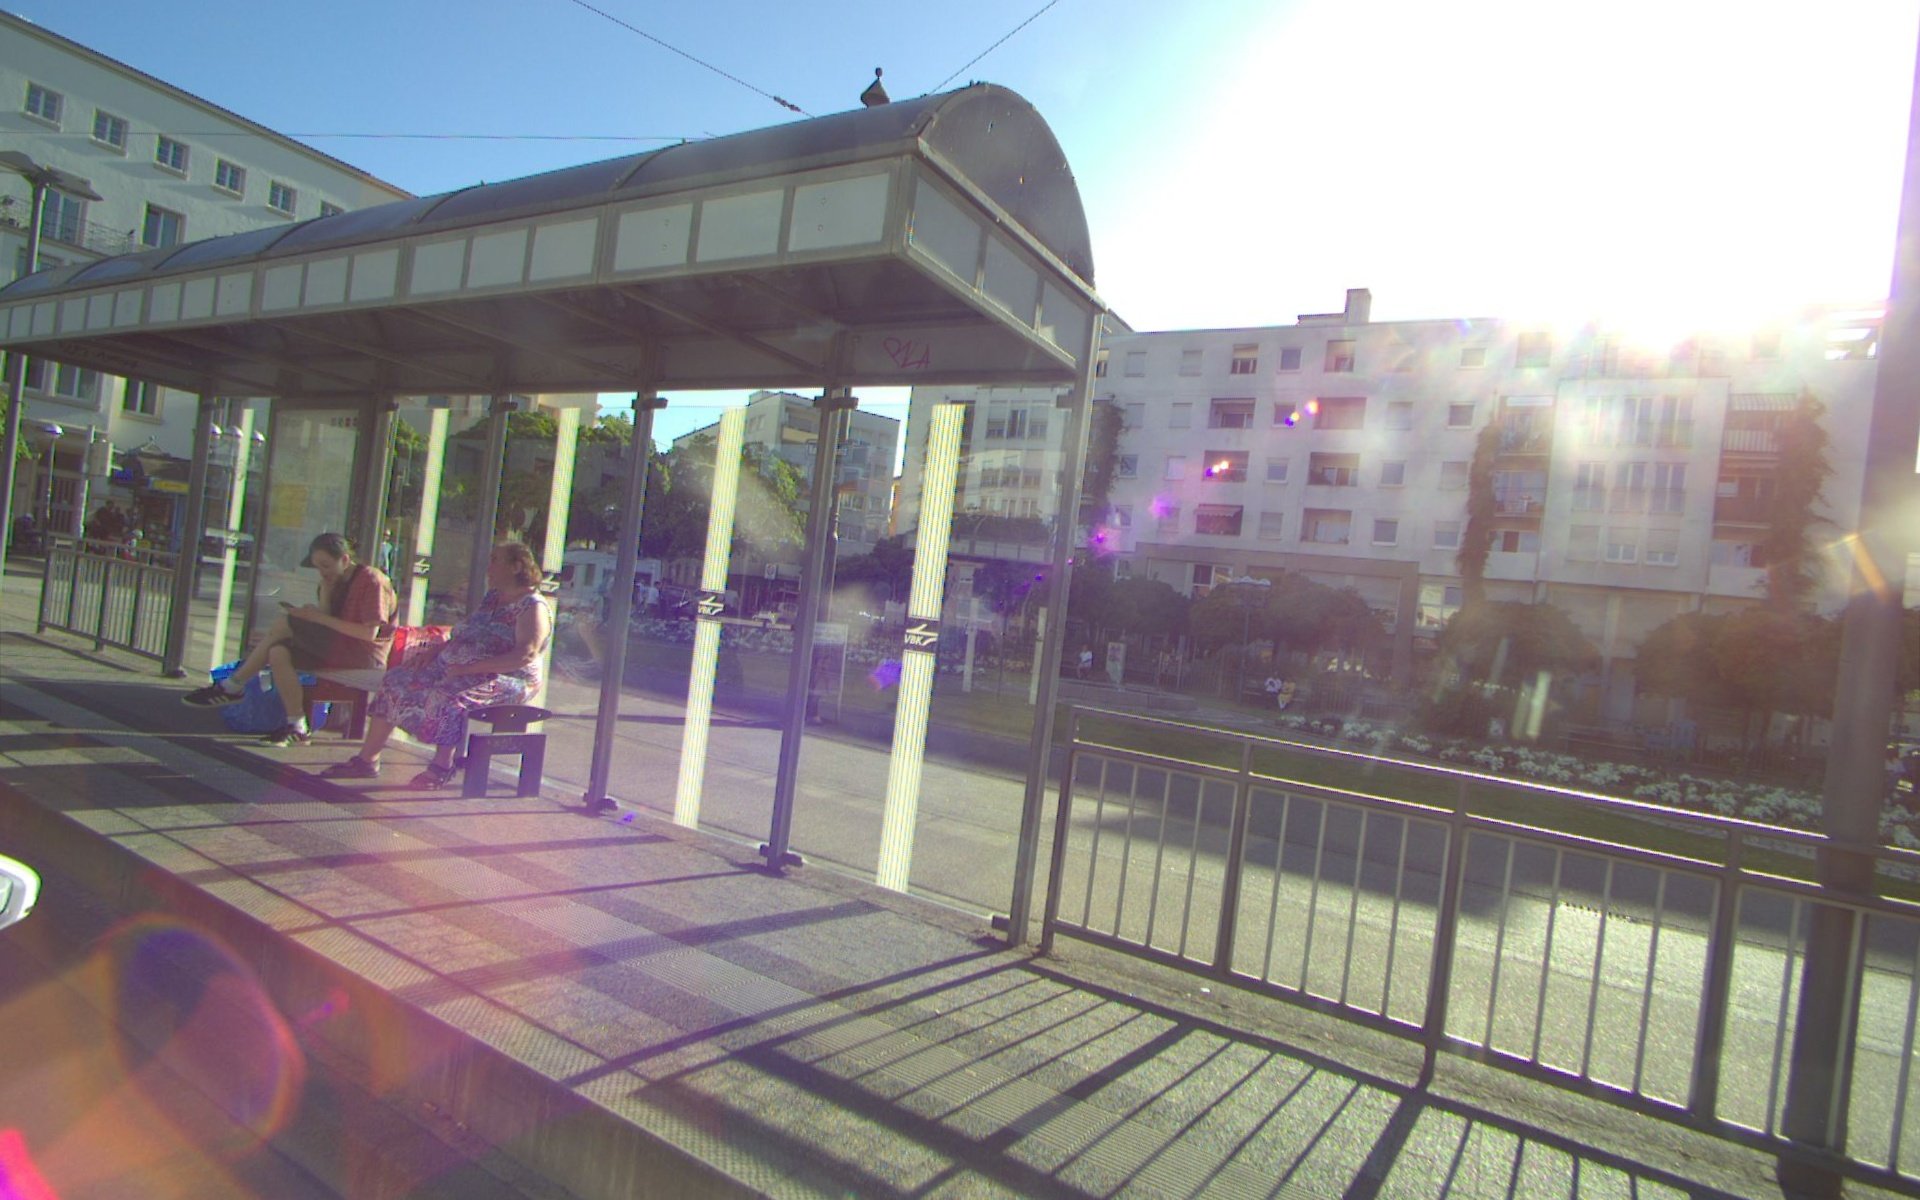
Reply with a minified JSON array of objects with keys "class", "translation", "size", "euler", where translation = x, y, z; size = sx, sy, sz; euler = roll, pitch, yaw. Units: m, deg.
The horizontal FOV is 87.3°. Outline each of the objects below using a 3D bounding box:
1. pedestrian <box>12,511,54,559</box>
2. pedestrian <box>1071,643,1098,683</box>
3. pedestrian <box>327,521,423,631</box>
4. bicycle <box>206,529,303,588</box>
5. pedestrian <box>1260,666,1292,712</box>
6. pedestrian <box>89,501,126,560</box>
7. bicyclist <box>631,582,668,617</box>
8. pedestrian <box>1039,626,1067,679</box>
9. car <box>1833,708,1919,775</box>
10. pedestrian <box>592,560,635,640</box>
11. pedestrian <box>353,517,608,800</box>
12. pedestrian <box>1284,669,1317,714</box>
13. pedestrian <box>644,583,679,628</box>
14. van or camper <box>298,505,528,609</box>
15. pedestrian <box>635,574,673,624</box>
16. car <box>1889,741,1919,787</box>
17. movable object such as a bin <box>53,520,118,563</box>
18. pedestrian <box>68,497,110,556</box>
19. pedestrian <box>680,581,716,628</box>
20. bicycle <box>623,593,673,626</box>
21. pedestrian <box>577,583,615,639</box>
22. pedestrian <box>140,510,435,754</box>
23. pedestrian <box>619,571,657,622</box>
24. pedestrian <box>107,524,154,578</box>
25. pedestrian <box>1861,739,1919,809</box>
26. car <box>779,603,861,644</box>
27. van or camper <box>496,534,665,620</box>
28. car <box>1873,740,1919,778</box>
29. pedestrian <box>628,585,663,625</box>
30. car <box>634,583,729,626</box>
[{"class":"pedestrian","translation":[-27.835,-1.951,30.209],"size":[0.736,1.332,0.622],"euler":[7,0,-35]},{"class":"pedestrian","translation":[4.292,2.159,34.737],"size":[0.718,1.287,1.042],"euler":[7,0,11]},{"class":"pedestrian","translation":[-11.006,-0.447,18.947],"size":[1.110,1.900,0.983],"euler":[6,-1,30]},{"class":"bicycle","translation":[-23.379,-1.346,33.387],"size":[0.714,1.548,2.391],"euler":[7,-3,31]},{"class":"pedestrian","translation":[9.805,2.756,31.214],"size":[0.718,1.287,0.745],"euler":[7,0,11]},{"class":"pedestrian","translation":[-28.477,-2.332,33.606],"size":[0.649,1.861,0.653],"euler":[7,0,35]},{"class":"bicyclist","translation":[-12.543,-0.023,40.607],"size":[0.936,1.239,0.935],"euler":[8,-2,13]},{"class":"pedestrian","translation":[3.207,1.800,34.654],"size":[0.661,1.745,1.028],"euler":[7,0,11]},{"class":"car","translation":[43.914,6.652,45.208],"size":[6.283,2.585,2.813],"euler":[7,-1,26]},{"class":"pedestrian","translation":[-7.995,-0.004,23.196],"size":[0.520,1.765,0.557],"euler":[6,-2,42]},{"class":"pedestrian","translation":[-2.537,0.325,5.385],"size":[0.613,1.348,0.861],"euler":[6,-4,32]},{"class":"pedestrian","translation":[10.488,2.813,31.025],"size":[0.718,1.287,0.745],"euler":[7,0,11]},{"class":"pedestrian","translation":[-11.261,0.213,38.014],"size":[0.651,1.604,0.902],"euler":[7,0,35]},{"class":"van or camper","translation":[-20.212,-1.487,37.666],"size":[2.331,2.780,7.132],"euler":[8,0,32]},{"class":"pedestrian","translation":[-10.599,-0.024,34.865],"size":[0.651,1.605,0.902],"euler":[7,0,35]},{"class":"car","translation":[36.804,6.264,36.716],"size":[3.941,1.535,1.993],"euler":[6,-1,38]},{"class":"movable object such as a bin","translation":[-27.999,-1.863,32.203],"size":[1.197,1.167,1.200],"euler":[6,-1,32]},{"class":"pedestrian","translation":[-29.414,-2.466,33.966],"size":[0.668,1.861,0.785],"euler":[7,0,35]},{"class":"pedestrian","translation":[-9.609,0.168,36.909],"size":[0.651,1.605,0.902],"euler":[7,0,35]},{"class":"bicycle","translation":[-12.578,0.406,40.674],"size":[0.707,1.073,2.327],"euler":[8,-3,14]},{"class":"pedestrian","translation":[-8.143,0.250,22.510],"size":[0.550,1.182,0.469],"euler":[5,-2,40]},{"class":"pedestrian","translation":[-3.910,0.207,5.894],"size":[0.908,1.238,1.001],"euler":[6,-4,32]},{"class":"pedestrian","translation":[-11.587,-0.127,36.206],"size":[0.684,1.705,0.902],"euler":[7,0,35]},{"class":"pedestrian","translation":[-24.806,-1.466,30.083],"size":[0.742,1.427,0.731],"euler":[10,1,32]},{"class":"pedestrian","translation":[21.830,4.041,23.580],"size":[0.923,1.428,1.520],"euler":[7,-1,42]},{"class":"car","translation":[-6.579,1.143,47.763],"size":[1.964,1.503,4.000],"euler":[7,-1,23]},{"class":"van or camper","translation":[-16.338,-0.932,43.734],"size":[2.340,2.873,6.410],"euler":[7,-1,35]},{"class":"car","translation":[39.826,6.658,40.773],"size":[3.941,1.303,1.993],"euler":[6,-1,38]},{"class":"pedestrian","translation":[-11.123,0.177,35.573],"size":[0.595,1.295,0.902],"euler":[7,-1,34]},{"class":"car","translation":[-13.728,0.233,49.739],"size":[1.974,1.529,3.982],"euler":[5,-3,43]}]
